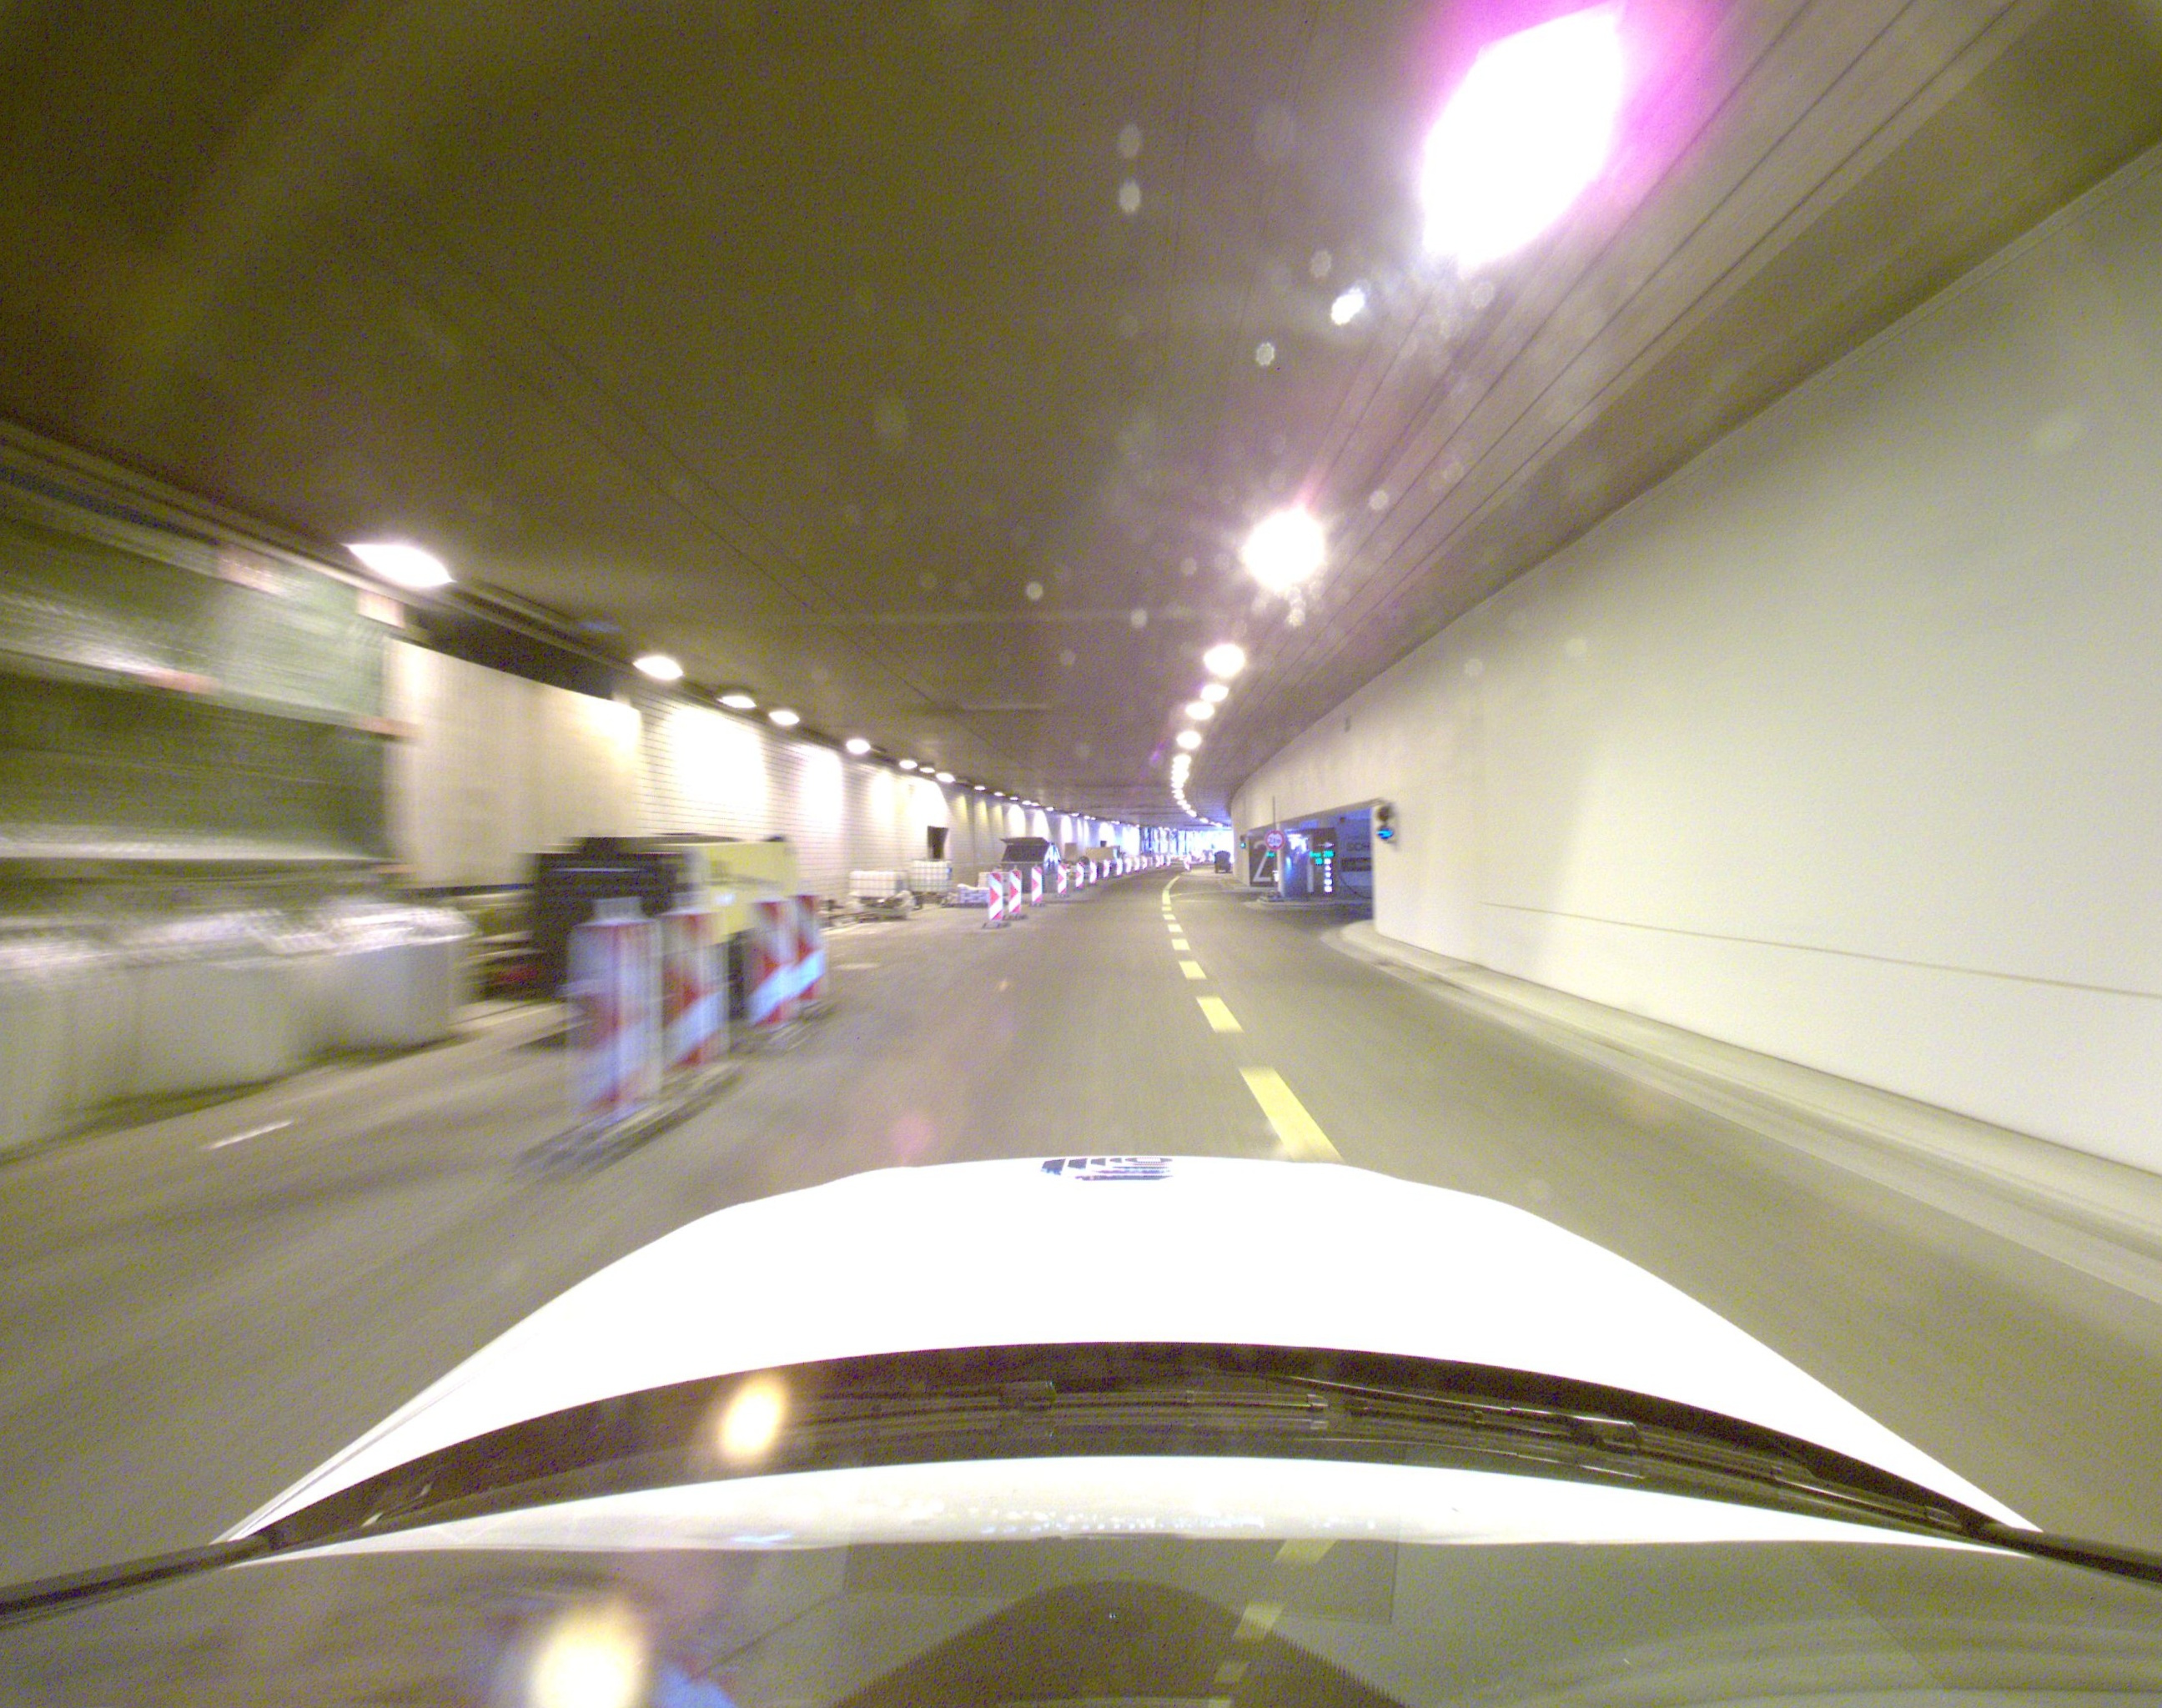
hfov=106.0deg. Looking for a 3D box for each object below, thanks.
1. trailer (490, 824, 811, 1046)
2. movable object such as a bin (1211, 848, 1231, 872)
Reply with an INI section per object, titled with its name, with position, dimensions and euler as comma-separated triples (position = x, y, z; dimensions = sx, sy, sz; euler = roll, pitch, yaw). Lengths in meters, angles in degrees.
[trailer]
position = -3.994, 0.666, 8.108
dimensions = 1.575, 1.798, 2.940
euler = 0, 0, 1
[movable object such as a bin]
position = 9.057, 0.386, 52.566
dimensions = 1.188, 1.460, 1.609
euler = -3, -1, 9
